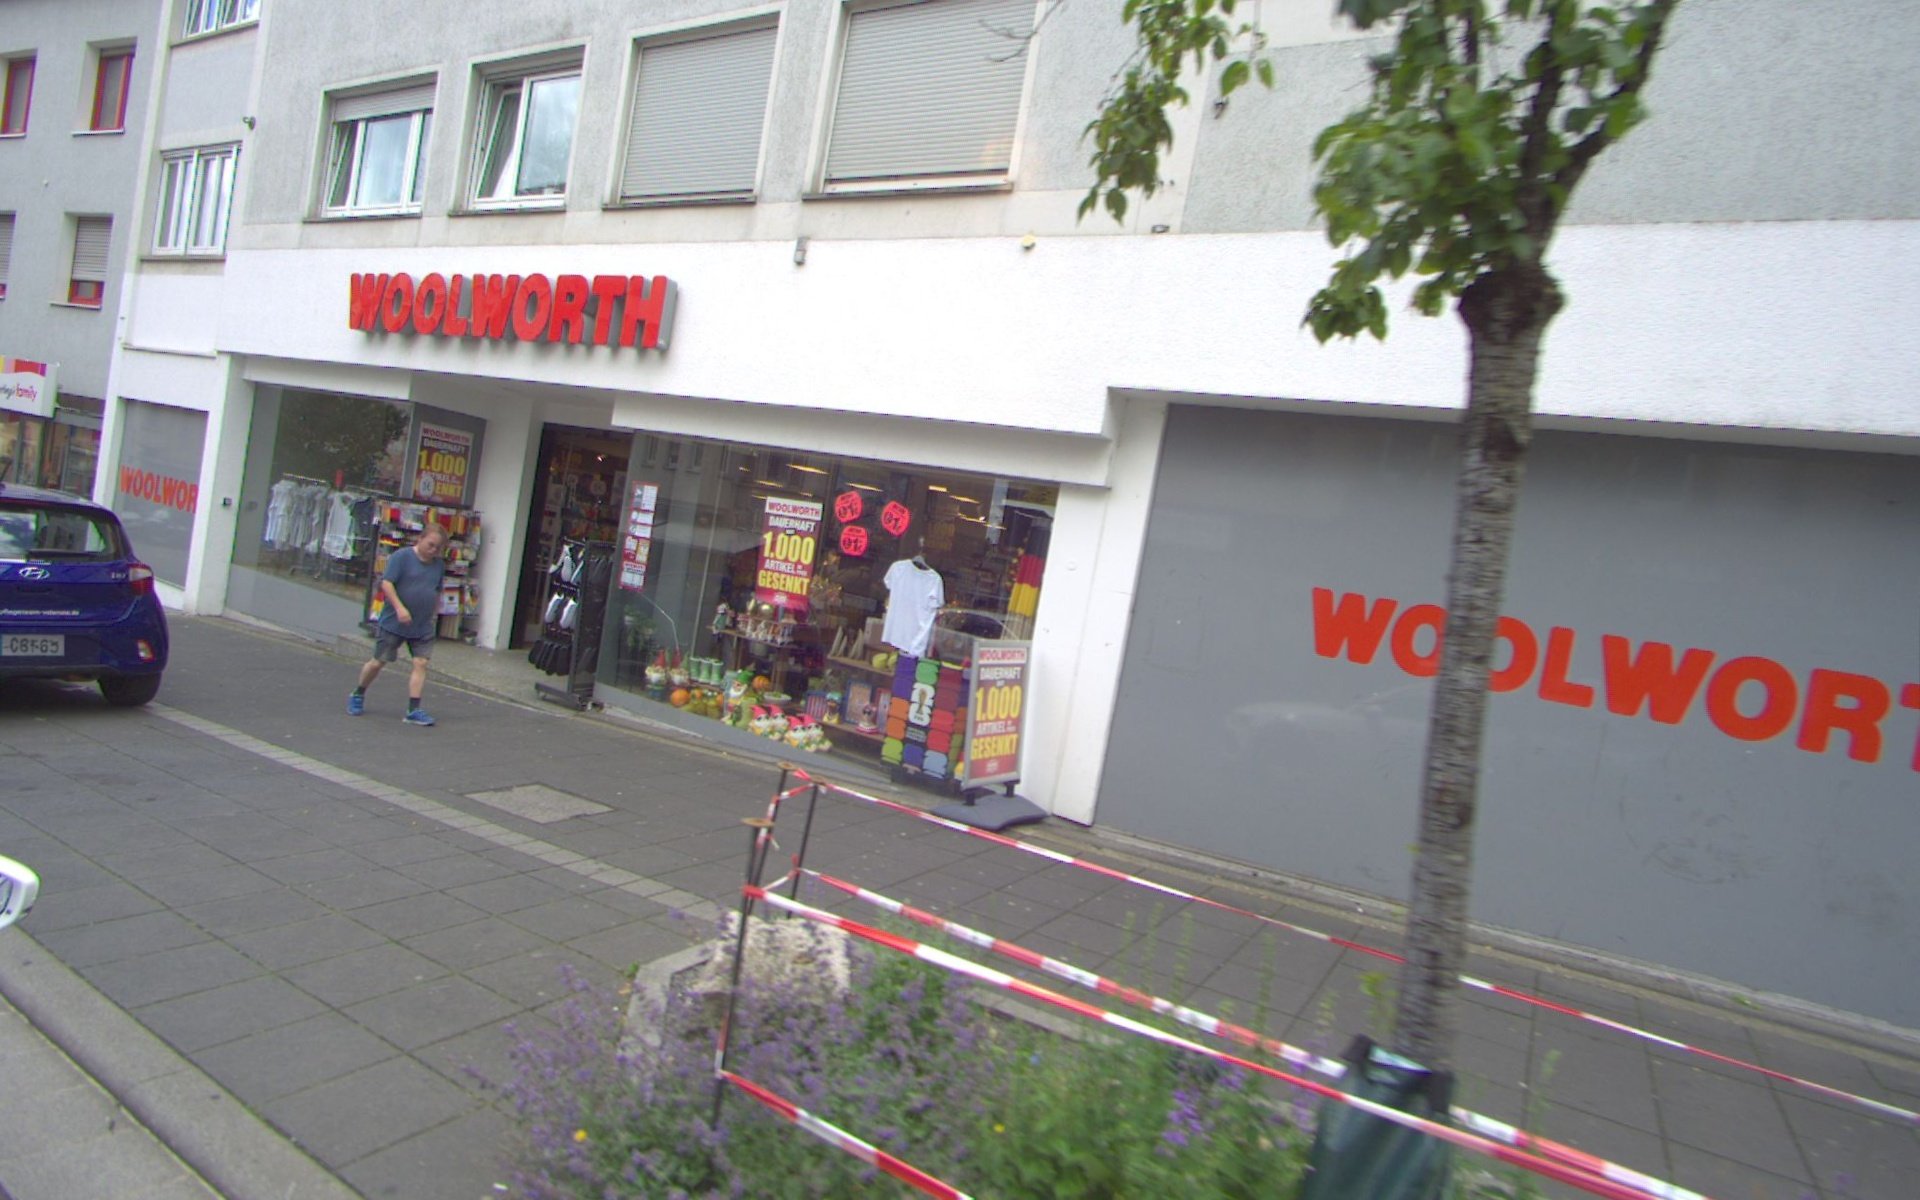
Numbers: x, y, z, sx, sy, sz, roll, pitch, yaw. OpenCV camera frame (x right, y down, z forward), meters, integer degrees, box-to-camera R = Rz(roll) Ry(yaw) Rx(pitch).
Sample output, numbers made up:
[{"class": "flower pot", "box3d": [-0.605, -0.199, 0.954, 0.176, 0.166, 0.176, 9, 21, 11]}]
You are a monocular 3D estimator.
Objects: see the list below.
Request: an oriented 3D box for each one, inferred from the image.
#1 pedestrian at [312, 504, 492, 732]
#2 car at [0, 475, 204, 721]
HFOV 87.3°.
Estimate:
[{"class": "pedestrian", "box3d": [-4.247, 0.136, 7.677, 0.803, 1.580, 0.757, 8, 1, 29]}, {"class": "car", "box3d": [-7.446, -0.175, 7.195, 3.733, 1.517, 1.750, 6, 2, 27]}]
